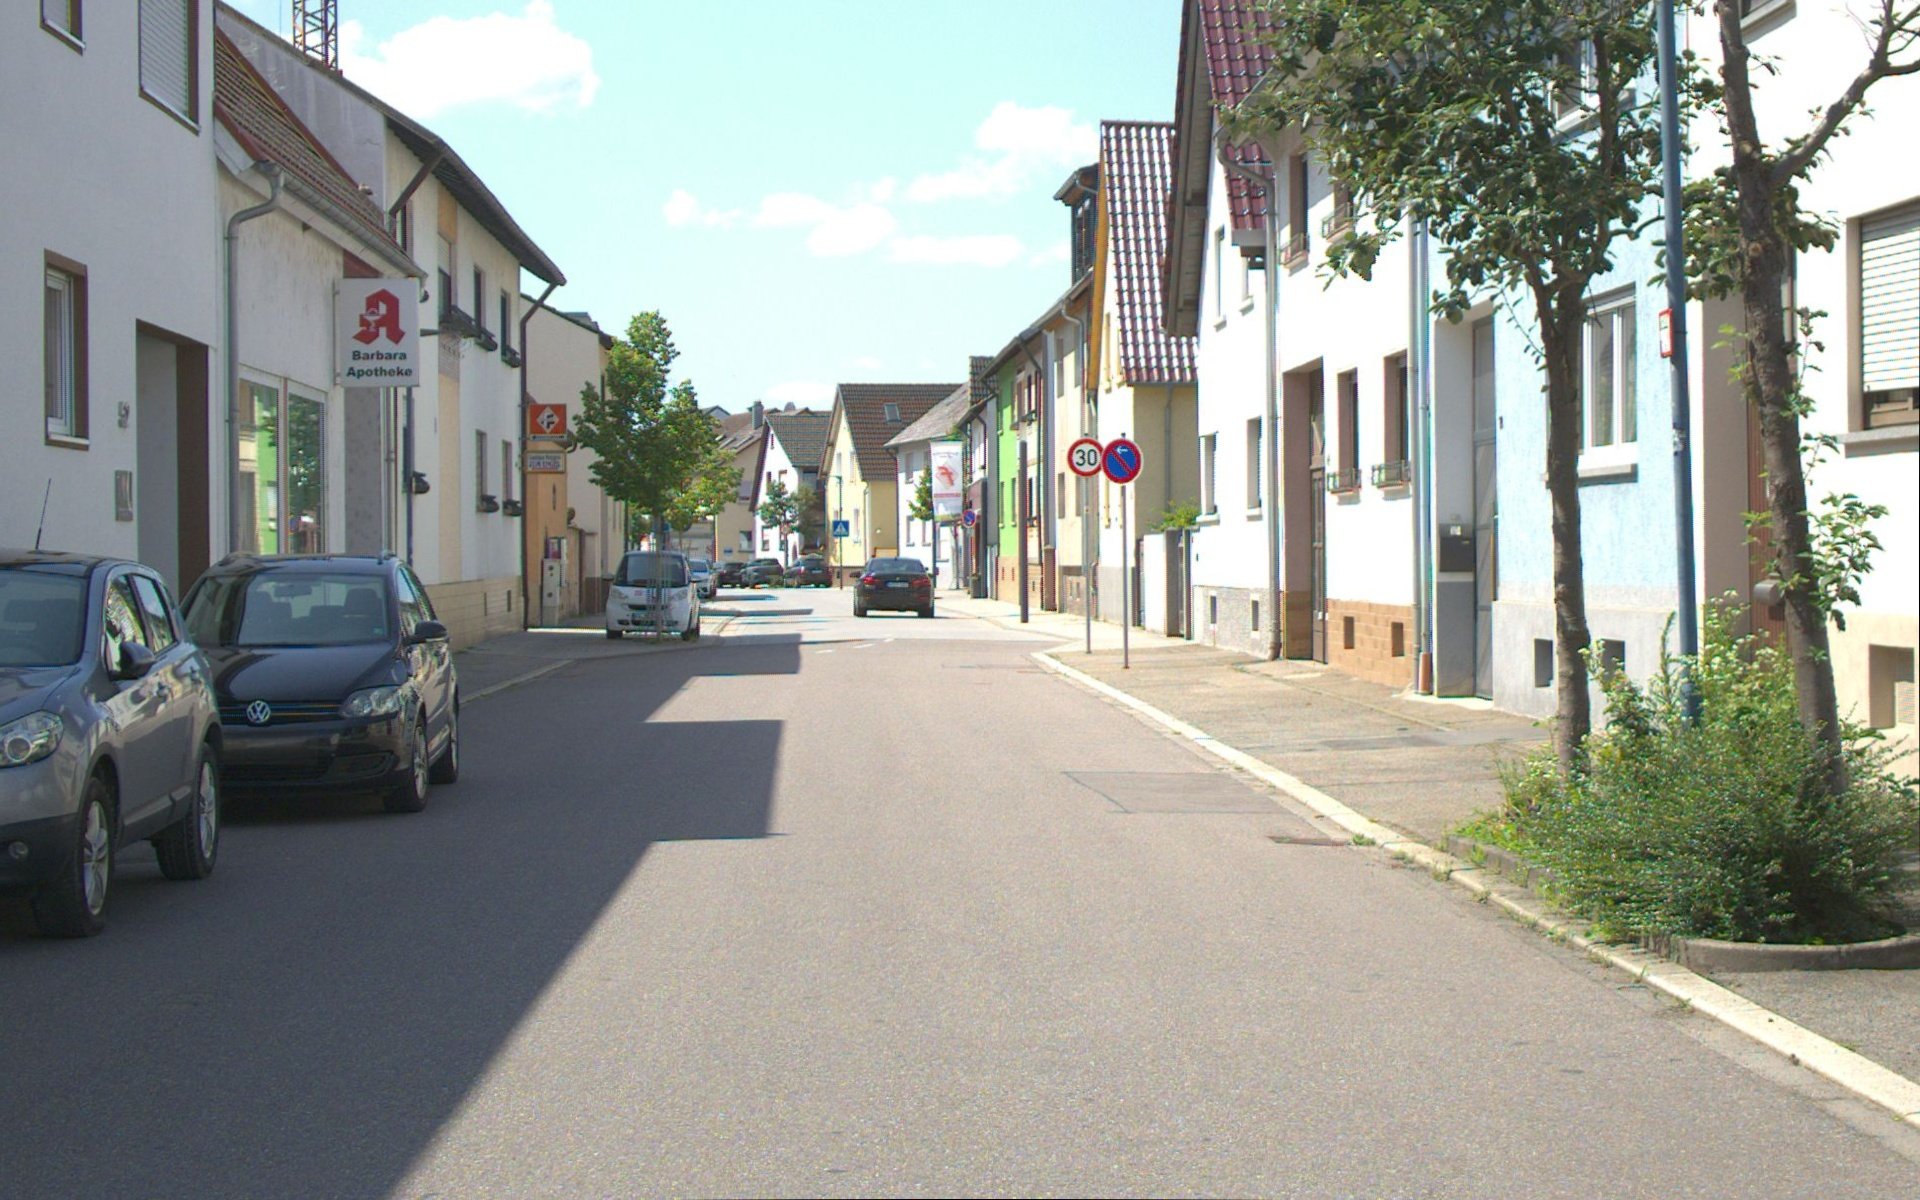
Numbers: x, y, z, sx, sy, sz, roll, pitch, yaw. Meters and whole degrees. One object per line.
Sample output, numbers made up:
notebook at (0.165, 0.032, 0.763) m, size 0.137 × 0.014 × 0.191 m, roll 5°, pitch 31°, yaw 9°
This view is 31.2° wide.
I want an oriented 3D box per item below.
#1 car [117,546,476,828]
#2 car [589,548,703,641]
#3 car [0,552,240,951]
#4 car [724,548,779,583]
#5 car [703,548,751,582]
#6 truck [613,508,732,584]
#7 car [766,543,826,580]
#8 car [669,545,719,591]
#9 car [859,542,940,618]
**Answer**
car at (-4.116, 0.470, 21.882) m, size 1.653 × 1.603 × 4.061 m, roll -1°, pitch 1°, yaw -3°
car at (-5.544, -0.122, 61.086) m, size 1.723 × 1.550 × 4.172 m, roll 1°, pitch 1°, yaw -1°
car at (-4.456, 0.561, 15.306) m, size 1.758 × 1.519 × 4.290 m, roll -1°, pitch 1°, yaw -3°
car at (-10.775, -1.764, 177.565) m, size 1.820 × 1.747 × 4.230 m, roll -1°, pitch 1°, yaw -18°
car at (-12.549, -1.878, 185.151) m, size 1.820 × 1.747 × 4.230 m, roll -1°, pitch 1°, yaw -15°
truck at (-15.455, -2.809, 183.390) m, size 3.378 × 3.852 × 13.930 m, roll -1°, pitch 1°, yaw -17°
car at (-8.025, -1.862, 168.013) m, size 1.782 × 1.747 × 4.230 m, roll -1°, pitch 1°, yaw -19°
car at (-10.088, -1.225, 130.084) m, size 1.734 × 1.681 × 4.233 m, roll 1°, pitch 0°, yaw -6°
car at (-1.491, -0.493, 83.462) m, size 1.782 × 1.747 × 4.000 m, roll -1°, pitch 1°, yaw -3°
